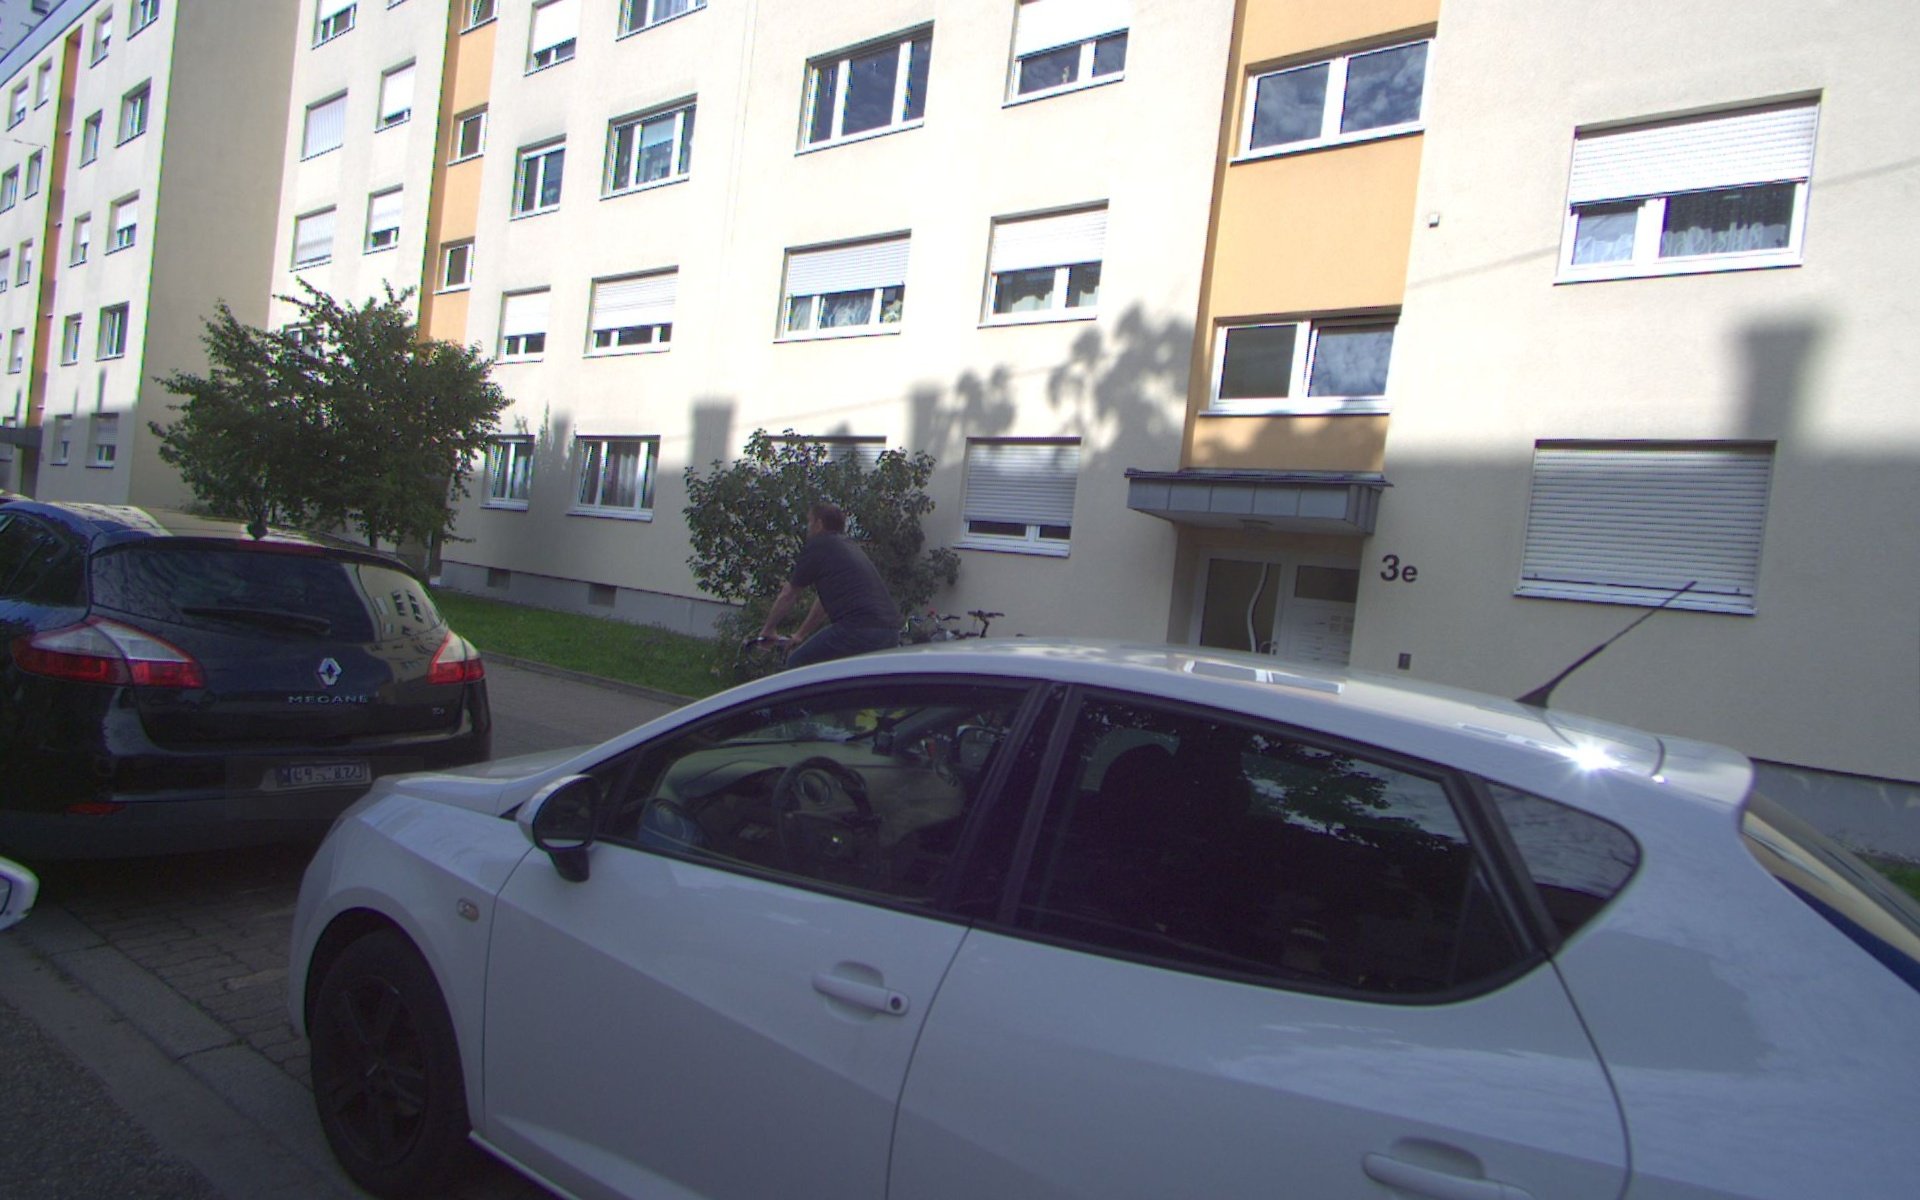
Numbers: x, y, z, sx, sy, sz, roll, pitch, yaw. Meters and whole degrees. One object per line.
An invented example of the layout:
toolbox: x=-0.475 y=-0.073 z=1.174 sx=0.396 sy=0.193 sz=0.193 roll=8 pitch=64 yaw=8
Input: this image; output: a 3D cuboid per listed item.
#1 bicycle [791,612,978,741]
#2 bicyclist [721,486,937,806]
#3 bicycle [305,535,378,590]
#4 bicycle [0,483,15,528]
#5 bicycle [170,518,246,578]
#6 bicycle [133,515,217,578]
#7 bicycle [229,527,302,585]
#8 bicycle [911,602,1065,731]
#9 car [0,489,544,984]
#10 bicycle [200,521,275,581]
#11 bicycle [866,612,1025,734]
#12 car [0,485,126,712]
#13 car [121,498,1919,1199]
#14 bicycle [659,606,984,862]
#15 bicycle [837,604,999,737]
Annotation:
bicycle: x=-0.739 y=0.708 z=9.612 sx=1.665 sy=1.010 sz=0.596 roll=5 pitch=-1 yaw=32
bicyclist: x=-0.767 y=0.249 z=5.910 sx=0.878 sy=1.698 sz=0.624 roll=7 pitch=1 yaw=32
bicycle: x=-13.733 y=-0.845 z=22.306 sx=2.100 sy=1.045 sz=0.501 roll=7 pitch=4 yaw=33
bicycle: x=-30.213 y=-3.013 z=31.121 sx=2.592 sy=1.306 sz=0.727 roll=7 pitch=-1 yaw=33
bicycle: x=-15.167 y=-1.053 z=20.269 sx=2.061 sy=1.044 sz=0.501 roll=7 pitch=3 yaw=32
bicycle: x=-15.396 y=-1.055 z=19.710 sx=2.084 sy=1.044 sz=0.593 roll=7 pitch=3 yaw=32
bicycle: x=-14.608 y=-0.929 z=21.138 sx=1.992 sy=1.044 sz=0.501 roll=7 pitch=3 yaw=32
bicycle: x=0.296 y=0.707 z=11.131 sx=1.565 sy=1.231 sz=0.521 roll=5 pitch=1 yaw=32
car: x=-4.025 y=0.273 z=4.837 sx=4.139 sy=1.454 sz=1.684 roll=7 pitch=1 yaw=35
bicycle: x=-14.888 y=-1.018 z=20.710 sx=2.035 sy=1.044 sz=0.501 roll=7 pitch=3 yaw=32
bicycle: x=-0.170 y=0.743 z=10.571 sx=1.565 sy=1.088 sz=0.521 roll=5 pitch=1 yaw=32
car: x=-8.159 y=-0.206 z=7.620 sx=3.810 sy=1.520 sz=1.685 roll=7 pitch=1 yaw=32
car: x=0.023 y=0.730 z=2.403 sx=4.134 sy=1.486 sz=1.686 roll=7 pitch=1 yaw=29
bicycle: x=-0.869 y=0.722 z=5.963 sx=1.897 sy=1.149 sz=0.524 roll=7 pitch=0 yaw=32
bicycle: x=-0.442 y=0.679 z=10.087 sx=1.565 sy=1.151 sz=0.445 roll=5 pitch=1 yaw=32
